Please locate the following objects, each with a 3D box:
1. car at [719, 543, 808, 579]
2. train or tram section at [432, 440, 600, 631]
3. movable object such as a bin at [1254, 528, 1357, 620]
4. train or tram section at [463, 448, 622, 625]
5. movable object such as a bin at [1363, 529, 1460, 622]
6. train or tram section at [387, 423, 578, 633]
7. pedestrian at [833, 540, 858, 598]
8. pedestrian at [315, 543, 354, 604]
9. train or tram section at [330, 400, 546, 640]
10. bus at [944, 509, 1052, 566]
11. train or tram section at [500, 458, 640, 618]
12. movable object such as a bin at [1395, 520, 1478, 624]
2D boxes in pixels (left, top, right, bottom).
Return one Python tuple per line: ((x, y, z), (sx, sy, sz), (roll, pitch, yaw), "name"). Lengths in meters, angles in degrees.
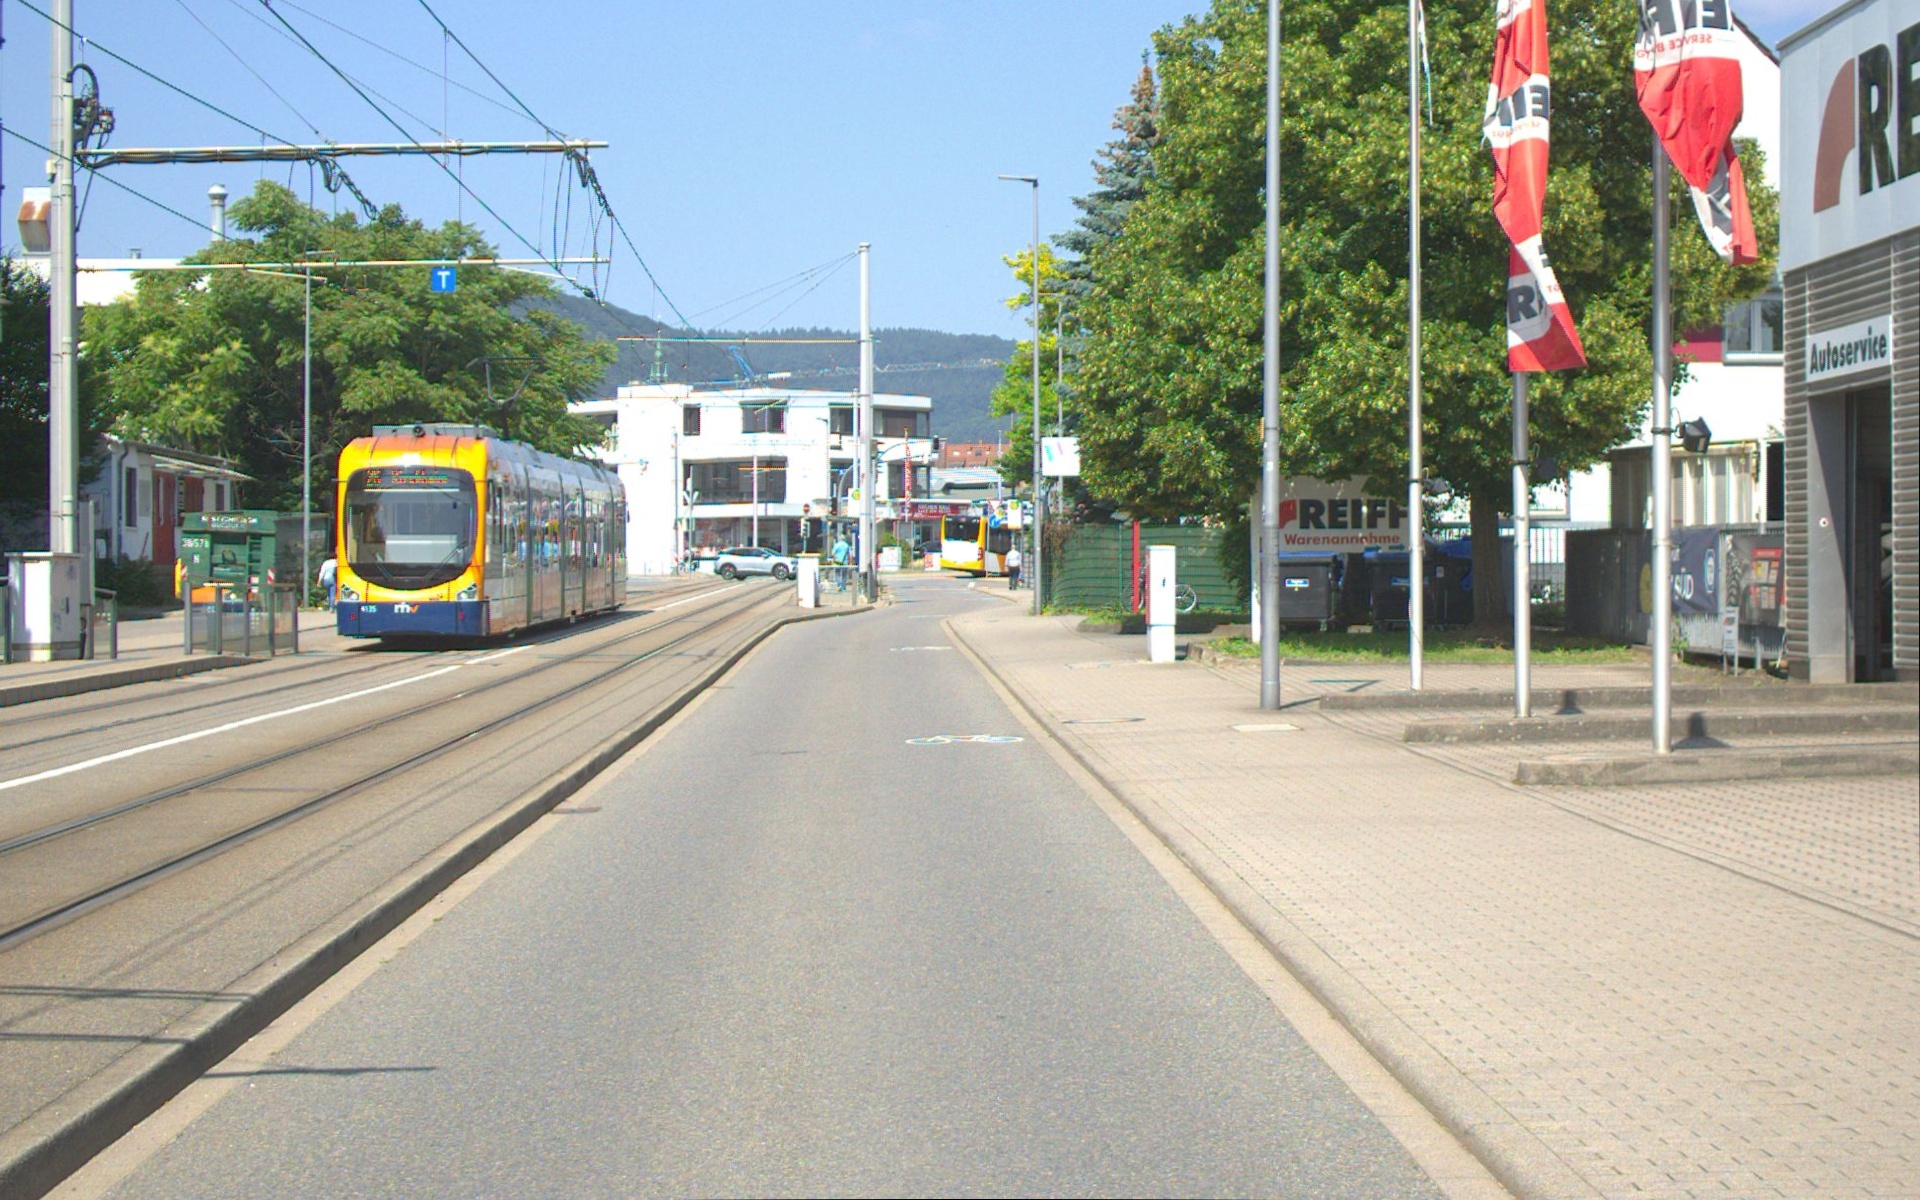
((-9.648, -1.929, 168.678), (3.990, 1.744, 1.774), (0, 1, 18), "car")
((-8.329, -1.205, 64.948), (2.611, 3.435, 5.011), (-1, 1, -2), "train or tram section")
((5.476, -0.397, 54.463), (1.386, 1.425, 0.989), (0, -1, 24), "movable object such as a bin")
((-8.535, -1.296, 71.035), (2.580, 3.435, 7.137), (-1, 1, -2), "train or tram section")
((7.088, -0.376, 53.932), (1.318, 1.425, 0.883), (0, -1, 24), "movable object such as a bin")
((-8.182, -1.225, 59.512), (2.611, 3.435, 5.844), (-1, 1, -2), "train or tram section")
((-3.482, -0.941, 104.502), (0.743, 1.734, 0.727), (-1, 1, -1), "pedestrian")
((-15.853, -0.681, 87.104), (0.834, 1.532, 0.838), (-1, 1, -1), "pedestrian")
((-8.071, -1.226, 53.723), (2.611, 3.521, 5.743), (-1, 1, -2), "train or tram section")
((1.996, -3.182, 176.278), (2.439, 2.870, 8.782), (0, 1, 23), "bus")
((-8.759, -1.388, 77.799), (2.580, 3.435, 6.363), (-1, 1, -2), "train or tram section")
((7.209, -0.418, 52.080), (0.978, 1.541, 1.321), (0, -1, -5), "movable object such as a bin")
